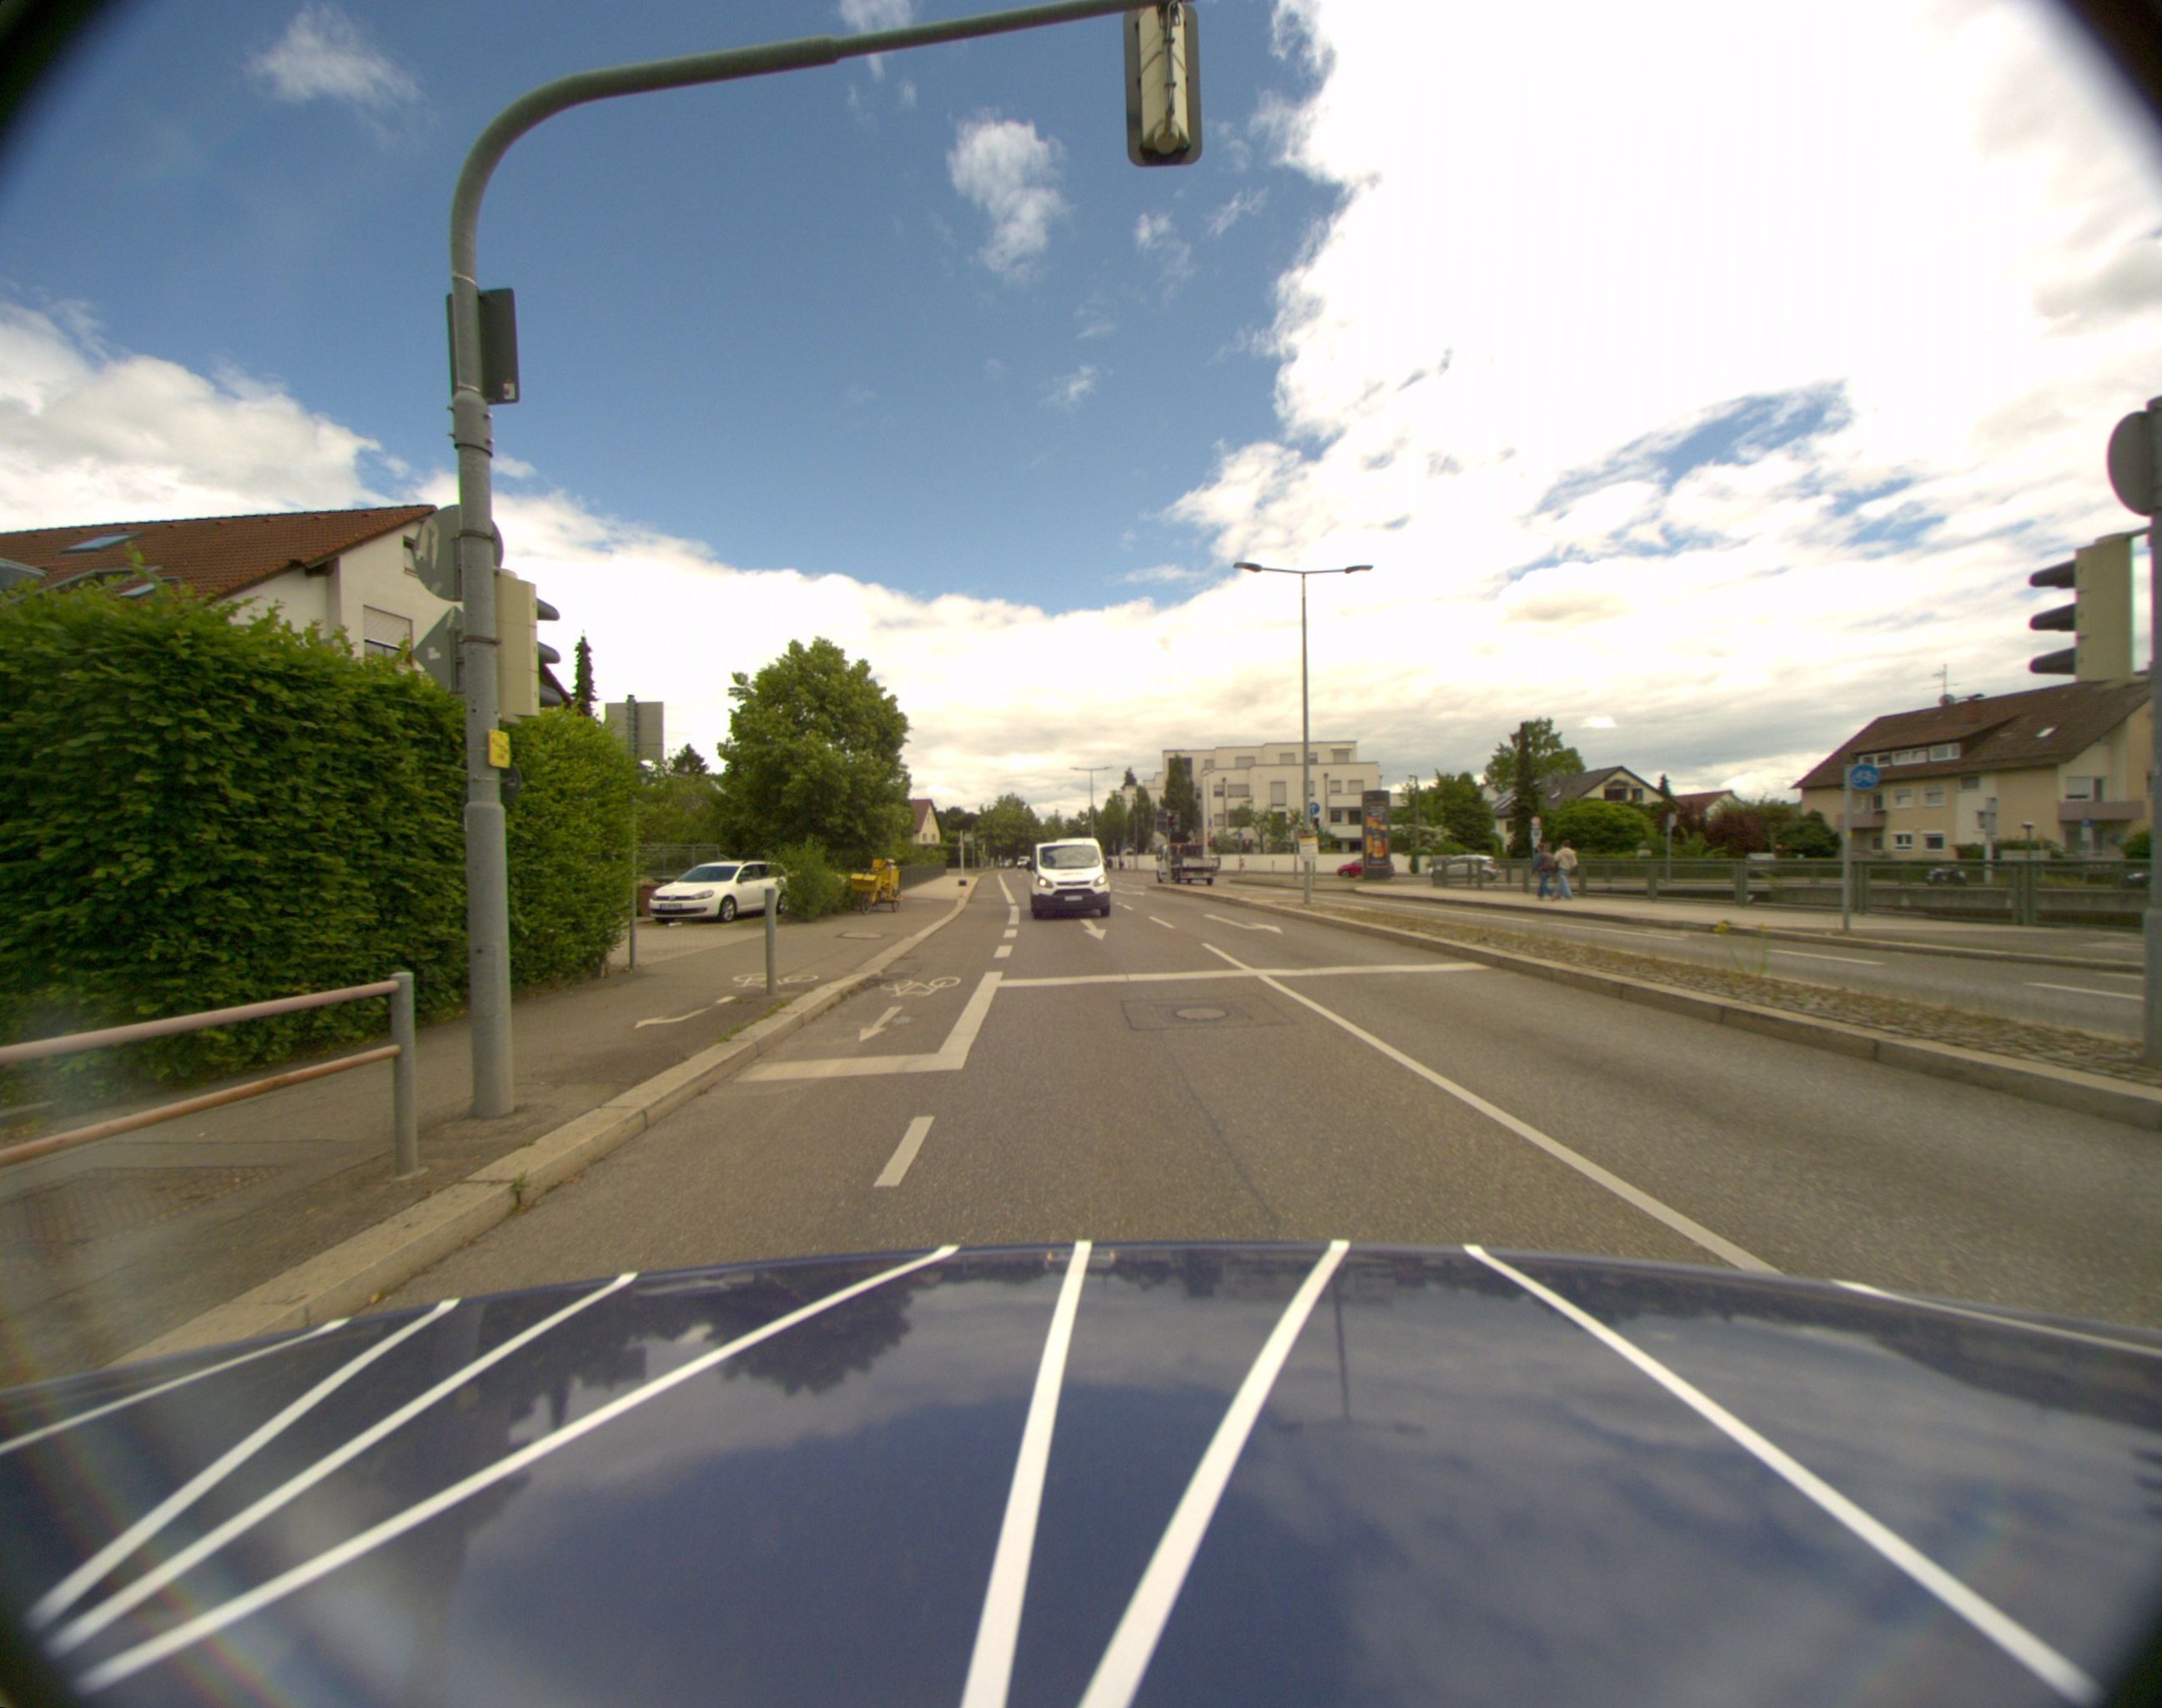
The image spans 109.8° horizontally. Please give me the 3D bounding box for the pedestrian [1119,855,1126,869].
[{"bbox_3d":[4.604,0.848,83.951,0.533,1.534,0.731,-5,1,-8],"label":"pedestrian"}]

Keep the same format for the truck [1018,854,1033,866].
[{"bbox_3d":[-7.963,0.838,109.643,1.614,1.780,4.001,0,0,4],"label":"truck"}]

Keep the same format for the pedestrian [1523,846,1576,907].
[{"bbox_3d":[12.935,0.611,21.017,0.658,1.624,1.069,-2,1,-12],"label":"pedestrian"}]

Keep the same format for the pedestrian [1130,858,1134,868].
[{"bbox_3d":[5.566,0.994,82.958,0.326,1.056,0.444,-5,1,-8],"label":"pedestrian"}]

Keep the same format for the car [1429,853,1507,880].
[{"bbox_3d":[24.390,0.758,47.936,4.117,1.526,1.651,1,0,39],"label":"car"}]

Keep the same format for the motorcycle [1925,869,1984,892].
[{"bbox_3d":[42.797,1.279,37.251,0.701,0.993,2.123,4,2,13],"label":"motorcycle"}]

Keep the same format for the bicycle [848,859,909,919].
[{"bbox_3d":[-5.527,0.908,20.988,0.894,1.501,2.783,3,0,-1],"label":"bicycle"}]

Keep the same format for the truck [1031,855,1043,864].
[{"bbox_3d":[-7.855,0.948,135.799,1.618,1.649,4.001,0,0,4],"label":"truck"}]

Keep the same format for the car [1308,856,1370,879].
[{"bbox_3d":[18.024,0.899,53.190,3.692,1.438,1.779,1,2,37],"label":"car"}]

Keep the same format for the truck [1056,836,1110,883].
[{"bbox_3d":[0.014,0.300,44.590,2.038,2.555,6.051,0,0,-11],"label":"truck"}]

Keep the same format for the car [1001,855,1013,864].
[{"bbox_3d":[-11.804,0.881,121.762,1.562,1.343,3.540,1,0,-1],"label":"car"}]

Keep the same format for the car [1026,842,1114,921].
[{"bbox_3d":[-0.474,0.697,22.048,2.076,1.956,5.554,-1,0,-5],"label":"car"}]

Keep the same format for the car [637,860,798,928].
[{"bbox_3d":[-8.898,0.949,19.024,1.673,1.495,4.063,-1,-1,7],"label":"car"}]

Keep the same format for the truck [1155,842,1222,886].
[{"bbox_3d":[5.849,0.481,42.428,2.132,2.251,6.802,0,0,-6],"label":"truck"}]

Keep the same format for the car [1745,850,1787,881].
[{"bbox_3d":[41.687,0.680,46.227,1.782,1.571,4.007,-3,0,42],"label":"car"}]

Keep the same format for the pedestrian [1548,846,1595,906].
[{"bbox_3d":[13.628,0.605,21.125,0.658,1.624,0.832,-2,1,-12],"label":"pedestrian"}]

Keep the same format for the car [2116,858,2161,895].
[{"bbox_3d":[48.124,0.965,32.424,4.363,1.598,2.004,0,0,41],"label":"car"}]
